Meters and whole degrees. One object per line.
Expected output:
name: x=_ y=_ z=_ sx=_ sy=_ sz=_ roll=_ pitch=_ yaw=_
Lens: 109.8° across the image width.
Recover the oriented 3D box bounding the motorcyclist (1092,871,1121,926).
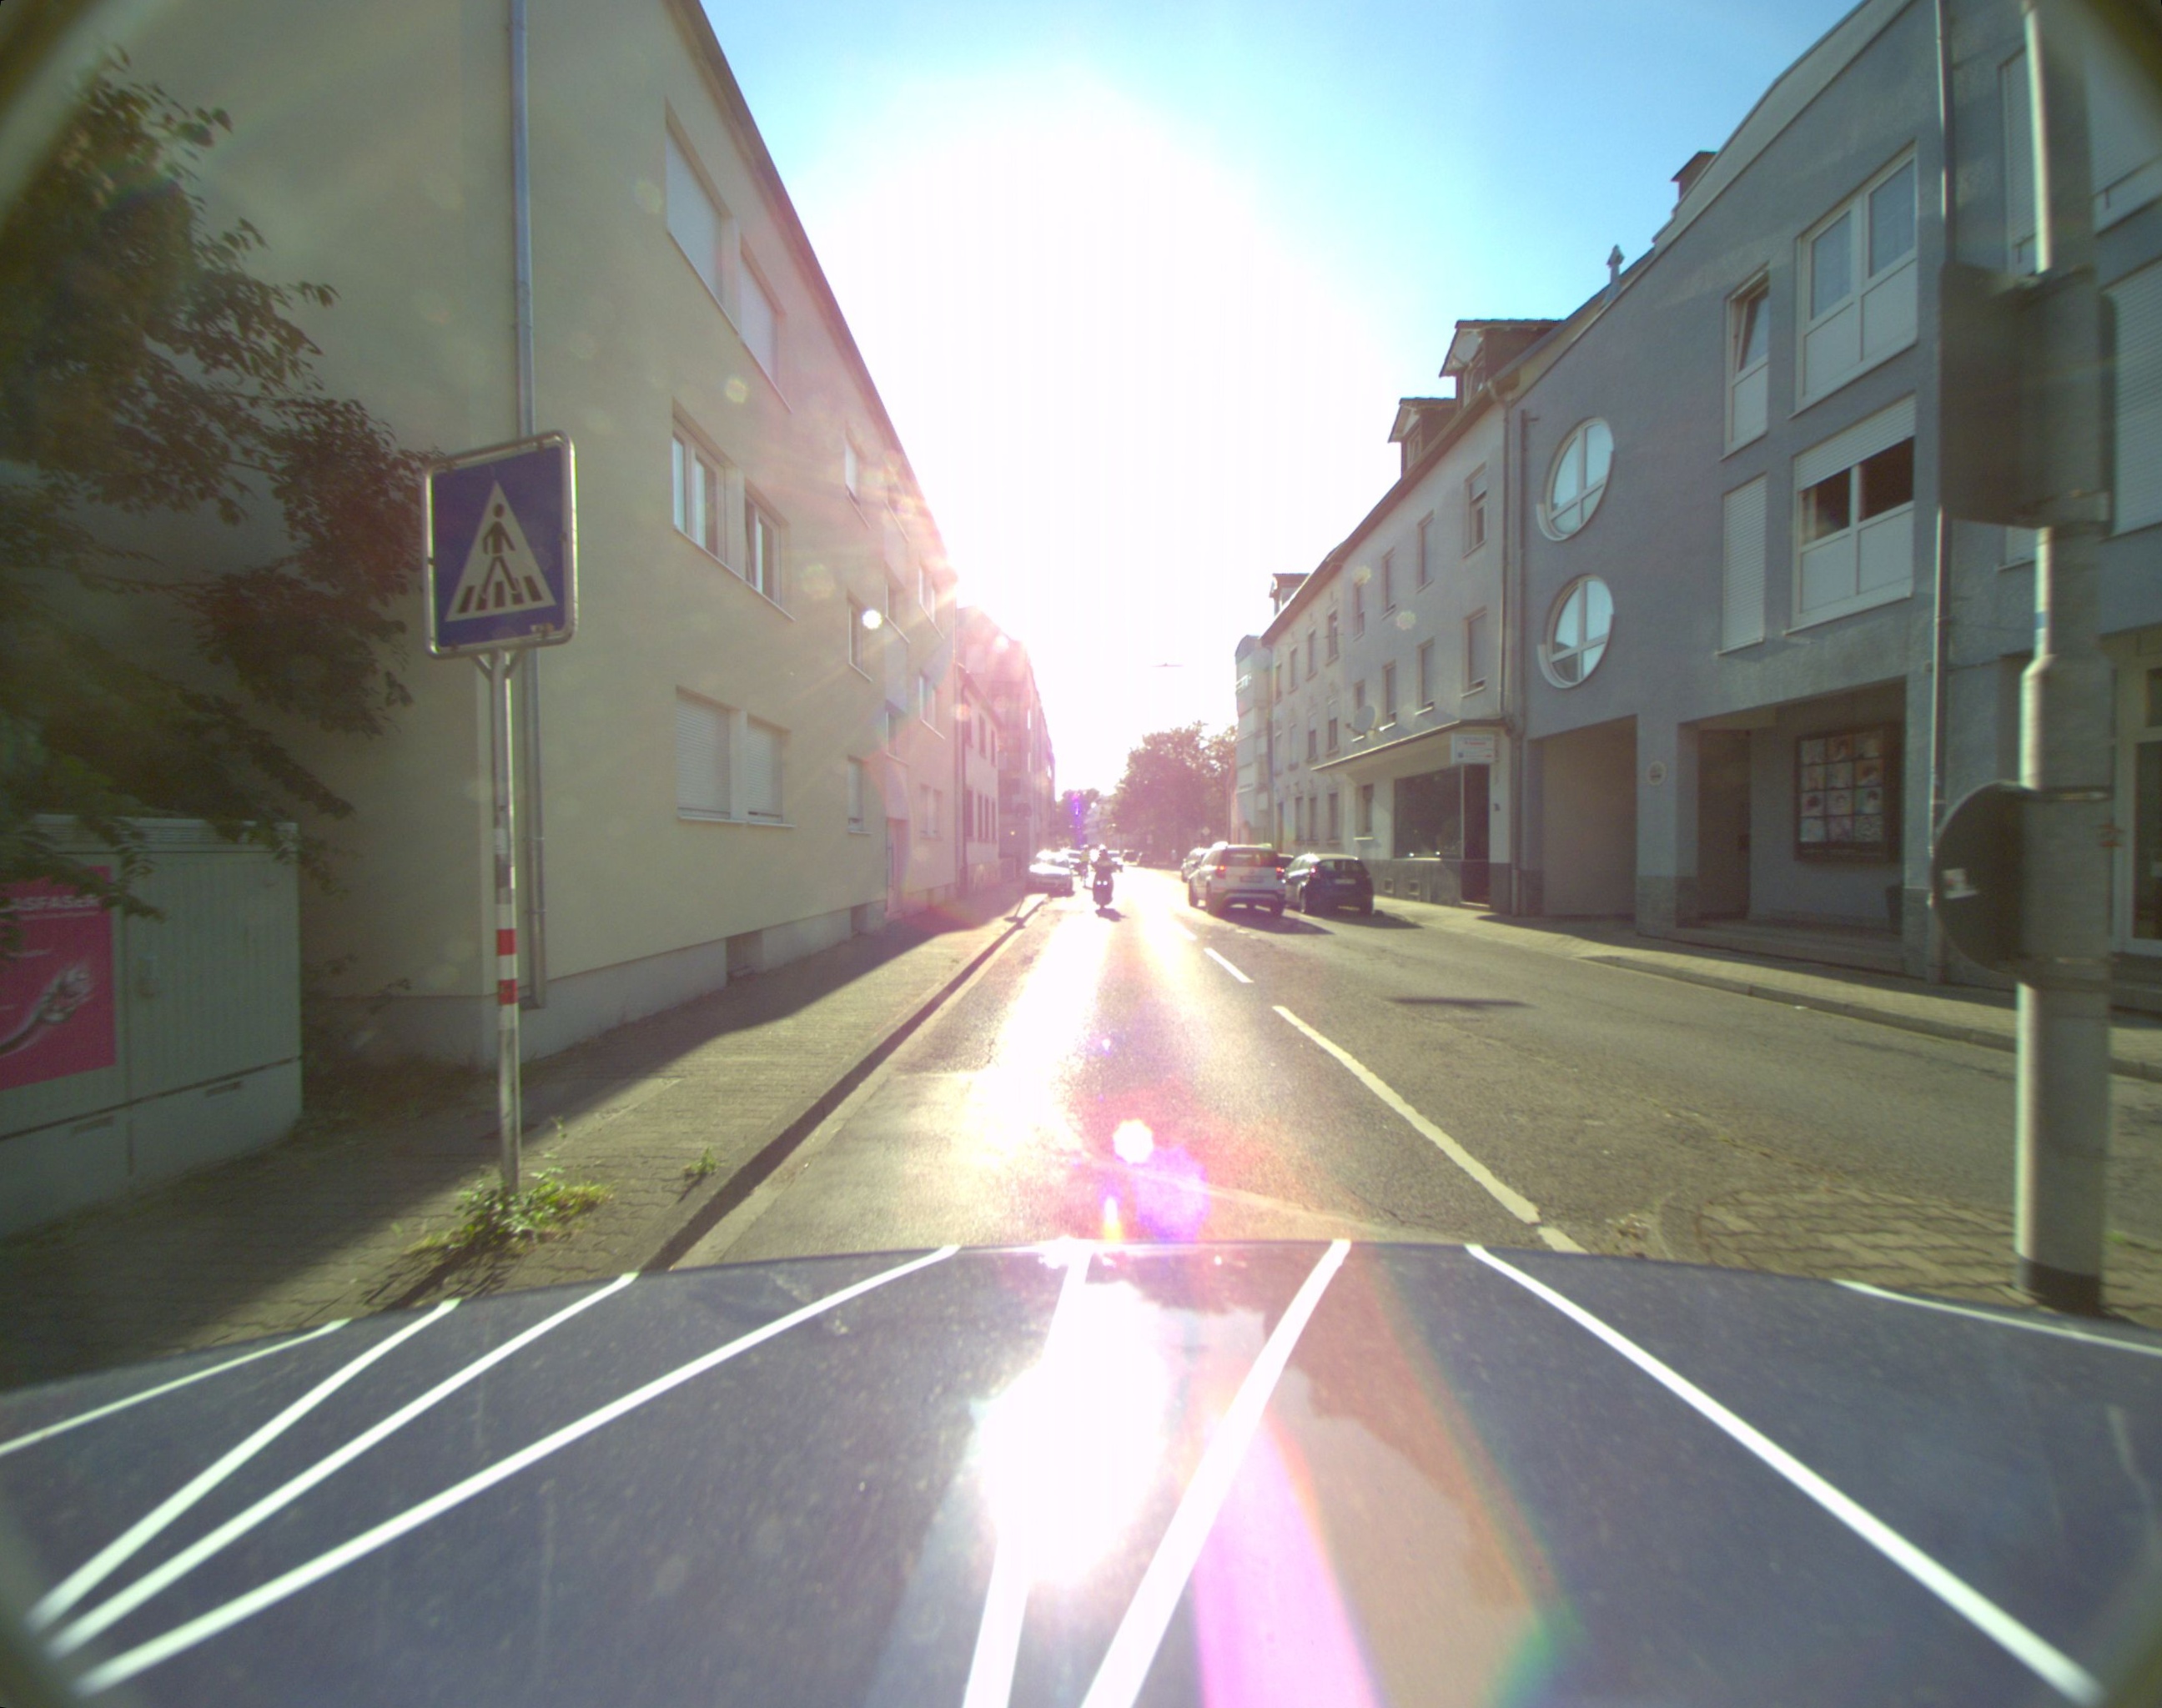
motorcyclist: x=0.679 y=1.178 z=20.428 sx=0.717 sy=1.424 sz=0.746 roll=0 pitch=1 yaw=-2

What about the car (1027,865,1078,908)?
car: x=-1.069 y=1.238 z=30.217 sx=1.745 sy=1.483 sz=4.439 roll=1 pitch=0 yaw=1

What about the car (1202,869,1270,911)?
car: x=6.184 y=1.397 z=30.726 sx=1.769 sy=1.487 sz=4.126 roll=2 pitch=0 yaw=-1

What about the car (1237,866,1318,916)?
car: x=6.578 y=1.196 z=25.862 sx=1.664 sy=1.517 sz=3.808 roll=-1 pitch=0 yaw=-2

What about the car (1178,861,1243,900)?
car: x=6.083 y=1.205 z=36.314 sx=1.999 sy=1.638 sz=5.220 roll=-1 pitch=0 yaw=-3

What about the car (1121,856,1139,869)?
car: x=7.131 y=1.260 z=110.637 sx=1.937 sy=1.695 sz=5.099 roll=-3 pitch=0 yaw=-2

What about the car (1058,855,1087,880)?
car: x=-0.562 y=0.906 z=53.275 sx=1.859 sy=1.626 sz=4.623 roll=2 pitch=0 yaw=1

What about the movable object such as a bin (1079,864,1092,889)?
movable object such as a bin: x=0.216 y=1.041 z=35.505 sx=0.456 sy=1.027 sz=1.839 roll=-3 pitch=1 yaw=-2

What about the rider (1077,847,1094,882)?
rider: x=0.189 y=0.461 z=35.353 sx=0.655 sy=1.553 sz=1.083 roll=-3 pitch=2 yaw=-2

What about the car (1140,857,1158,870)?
car: x=8.170 y=1.139 z=91.774 sx=1.701 sy=1.483 sz=3.999 roll=0 pitch=0 yaw=-2

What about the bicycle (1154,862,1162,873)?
bicycle: x=7.891 y=1.384 z=77.487 sx=0.705 sy=0.997 sz=1.941 roll=-1 pitch=0 yaw=3

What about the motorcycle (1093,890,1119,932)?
motorcycle: x=0.666 y=1.528 z=20.730 sx=0.599 sy=1.004 sz=1.821 roll=0 pitch=0 yaw=-2

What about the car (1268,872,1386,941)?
car: x=6.265 y=1.287 z=19.818 sx=1.735 sy=1.490 sz=3.958 roll=0 pitch=1 yaw=-1

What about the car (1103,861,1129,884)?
car: x=2.656 y=1.373 z=57.916 sx=1.708 sy=1.569 sz=3.915 roll=-1 pitch=0 yaw=-1

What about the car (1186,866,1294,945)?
car: x=3.908 y=1.199 z=19.328 sx=1.812 sy=1.691 sz=4.192 roll=2 pitch=0 yaw=0
